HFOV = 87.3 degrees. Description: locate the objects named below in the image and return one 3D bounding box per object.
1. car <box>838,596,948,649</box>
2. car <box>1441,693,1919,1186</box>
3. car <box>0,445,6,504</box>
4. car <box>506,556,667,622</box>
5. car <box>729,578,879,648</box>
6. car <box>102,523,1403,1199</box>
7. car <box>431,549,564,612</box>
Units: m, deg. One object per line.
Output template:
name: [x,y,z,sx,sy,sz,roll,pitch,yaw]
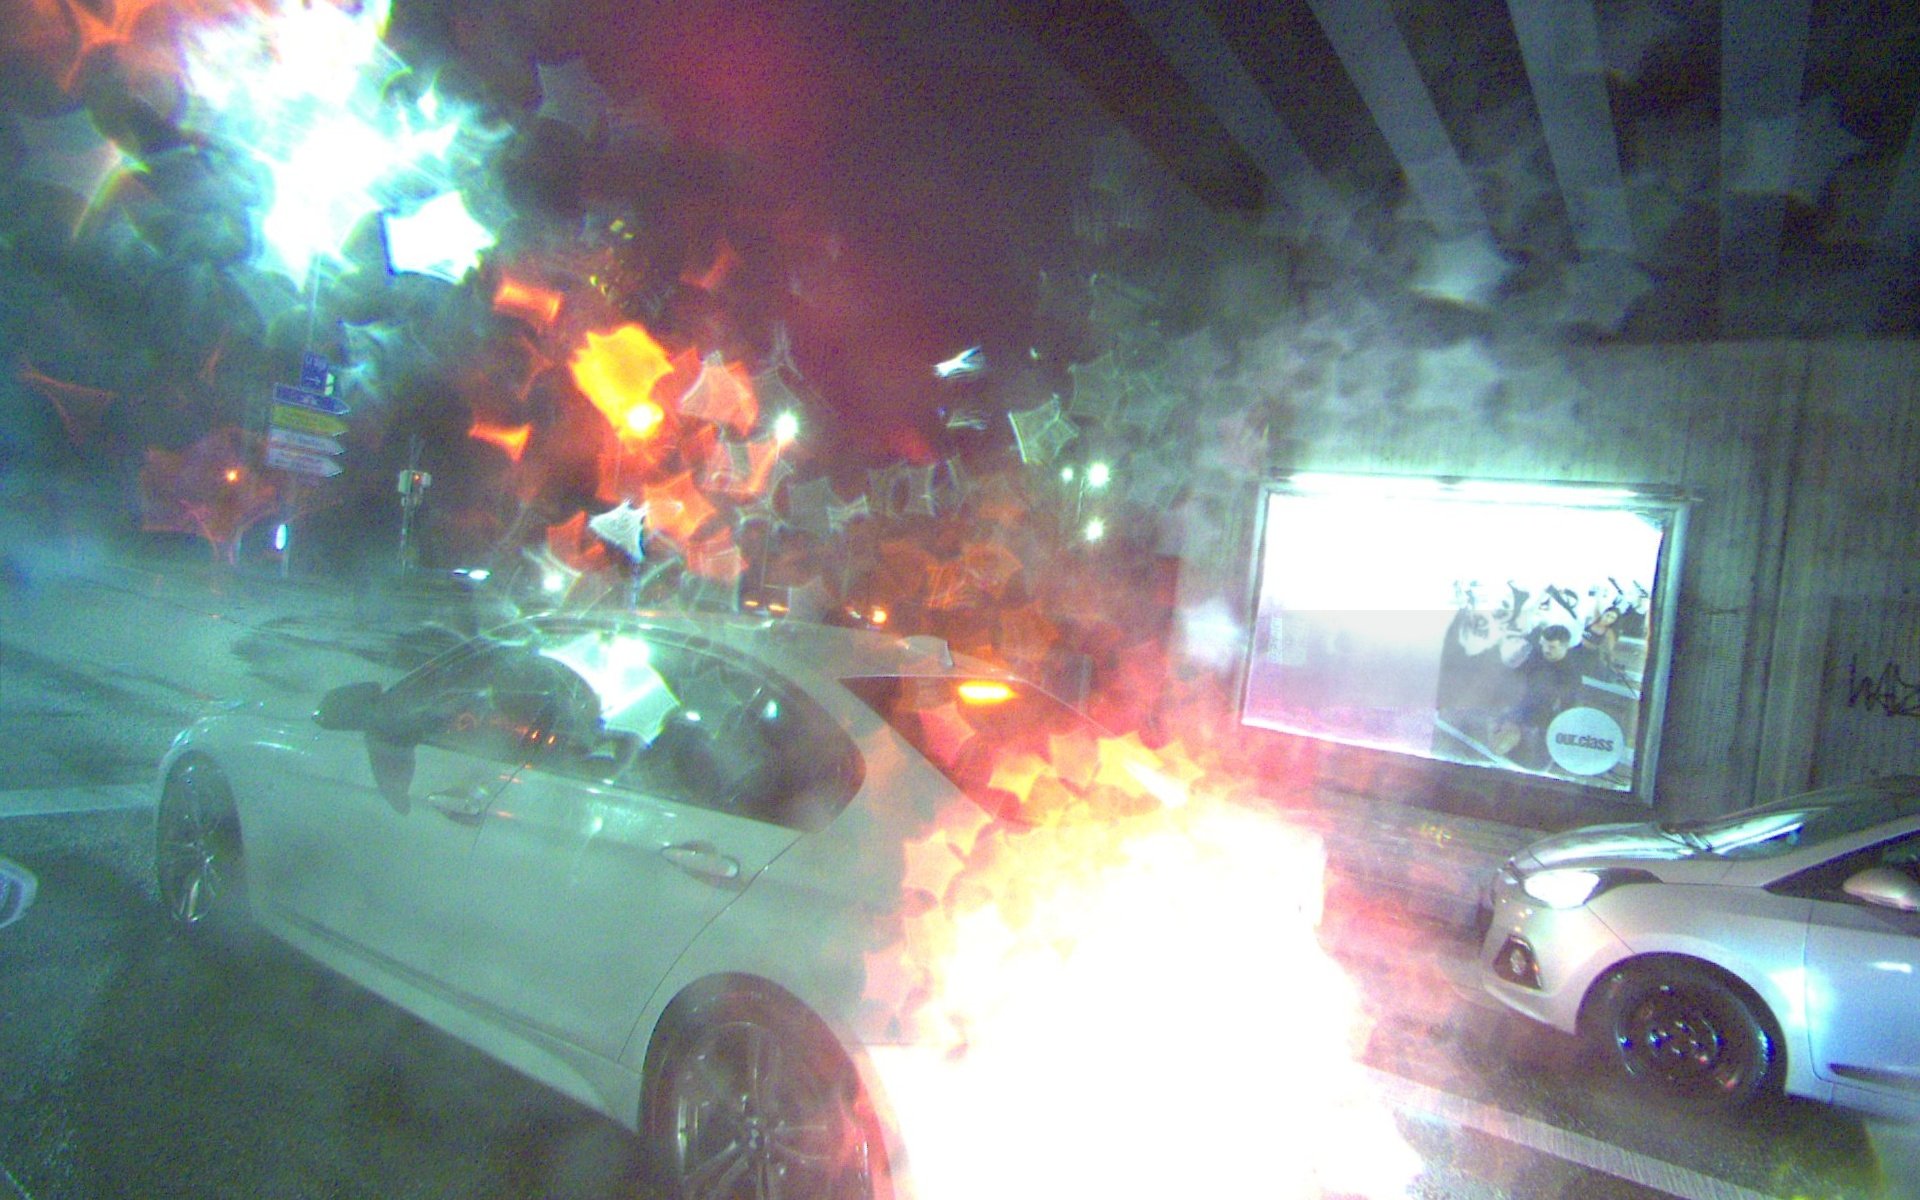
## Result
car: [-2.619,0.939,40.403,1.879,1.637,4.502,6,-2,36]
car: [4.279,1.395,3.931,4.092,1.465,1.722,6,0,31]
car: [-16.914,-1.657,15.090,3.543,2.037,1.685,8,-2,-41]
car: [-12.773,-0.338,34.698,1.826,1.609,4.850,6,-2,38]
car: [-4.881,0.450,31.973,1.931,1.692,4.400,6,-2,40]
car: [-0.962,0.685,3.509,4.309,1.465,1.722,6,0,31]
car: [-17.266,-0.683,37.670,1.881,1.801,3.985,6,-2,39]
